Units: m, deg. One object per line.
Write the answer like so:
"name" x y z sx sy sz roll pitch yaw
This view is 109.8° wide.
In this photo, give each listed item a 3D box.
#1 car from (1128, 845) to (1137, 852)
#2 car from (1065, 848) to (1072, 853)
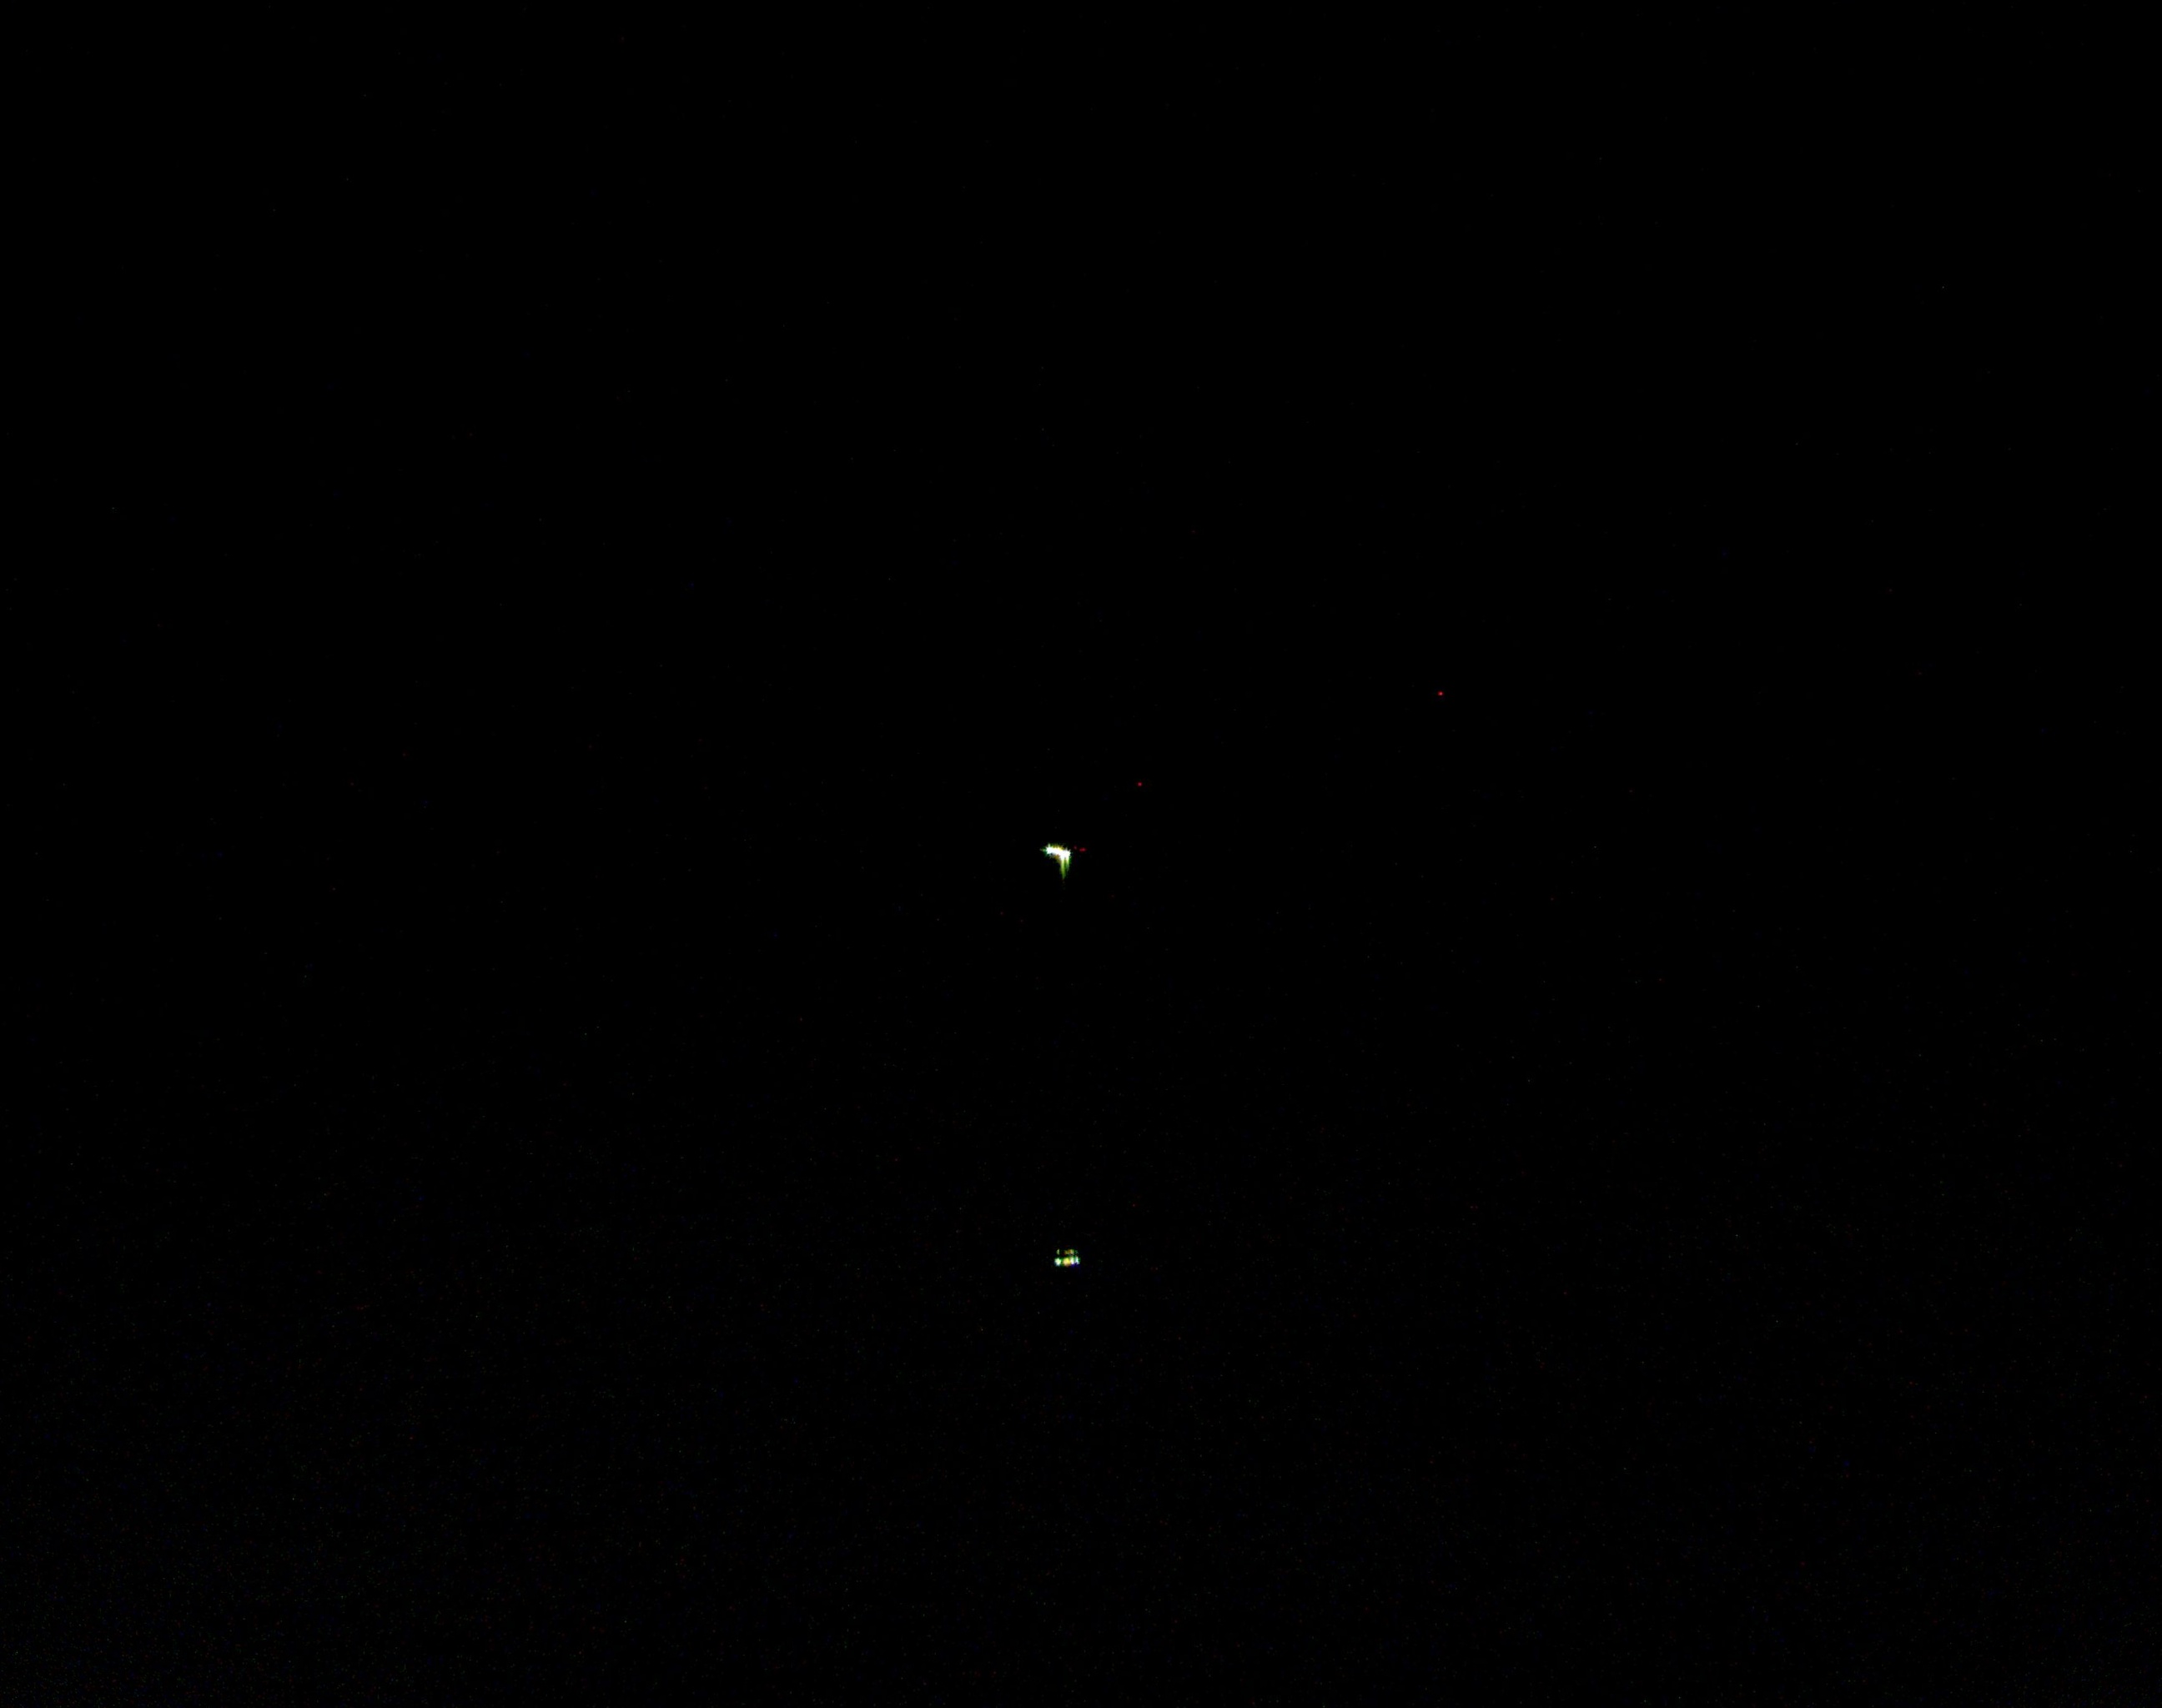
"car" 17.493 -1.961 260.180 2.397 2.438 6.668 -2 1 -1
"car" -3.899 -1.100 232.328 1.860 1.609 3.998 -1 1 -2
